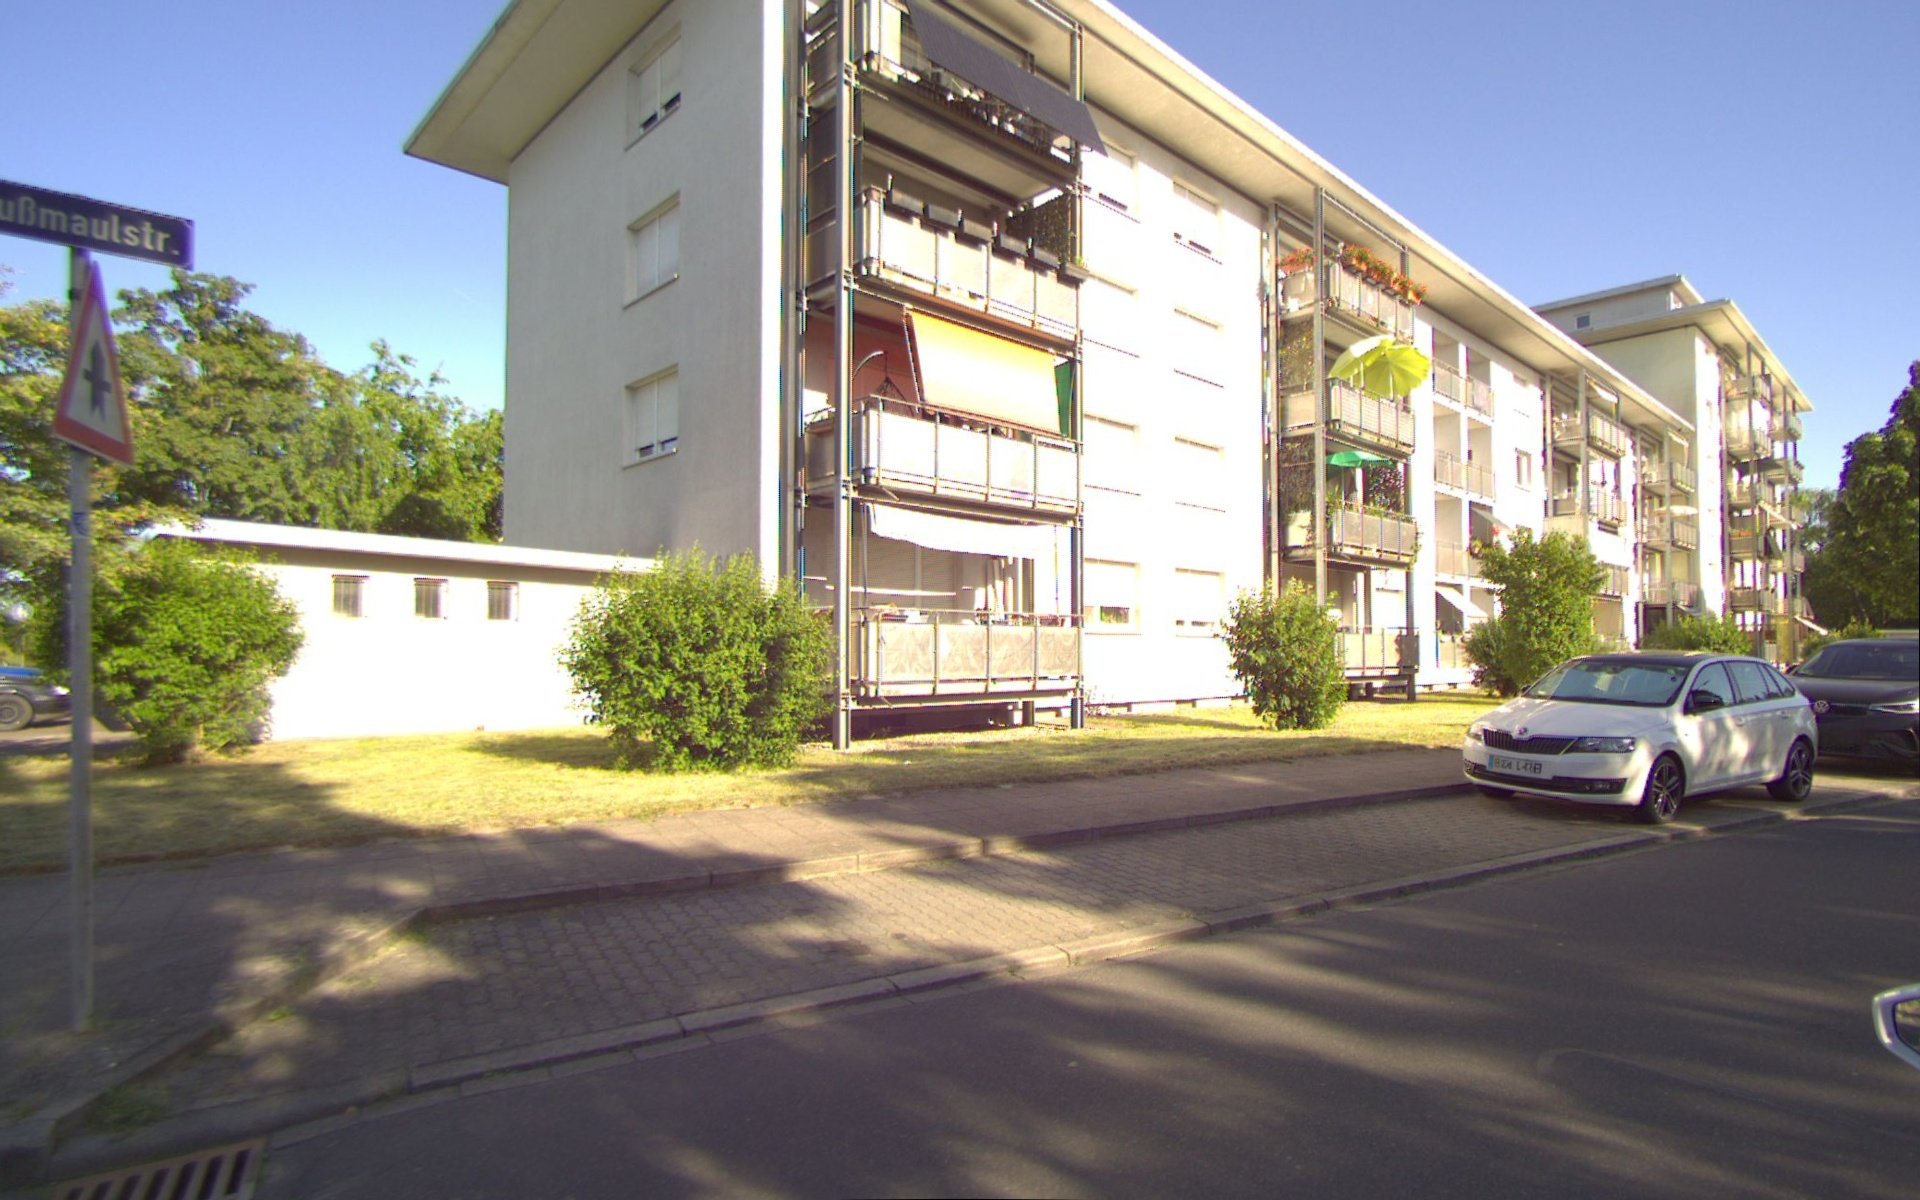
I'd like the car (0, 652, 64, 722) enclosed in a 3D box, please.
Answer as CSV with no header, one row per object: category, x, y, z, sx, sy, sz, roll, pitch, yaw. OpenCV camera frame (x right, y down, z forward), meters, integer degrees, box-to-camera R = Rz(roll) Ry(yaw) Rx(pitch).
car,-20.597,1.747,20.024,4.004,1.406,1.823,3,-5,-44

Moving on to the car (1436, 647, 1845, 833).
car,6.794,1.217,9.930,4.279,1.486,1.639,2,-2,-30

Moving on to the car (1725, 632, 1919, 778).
car,12.272,1.287,13.212,4.758,1.624,1.905,2,-4,-31

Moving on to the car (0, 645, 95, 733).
car,-16.620,1.445,15.918,4.332,1.375,1.937,1,-3,-40
